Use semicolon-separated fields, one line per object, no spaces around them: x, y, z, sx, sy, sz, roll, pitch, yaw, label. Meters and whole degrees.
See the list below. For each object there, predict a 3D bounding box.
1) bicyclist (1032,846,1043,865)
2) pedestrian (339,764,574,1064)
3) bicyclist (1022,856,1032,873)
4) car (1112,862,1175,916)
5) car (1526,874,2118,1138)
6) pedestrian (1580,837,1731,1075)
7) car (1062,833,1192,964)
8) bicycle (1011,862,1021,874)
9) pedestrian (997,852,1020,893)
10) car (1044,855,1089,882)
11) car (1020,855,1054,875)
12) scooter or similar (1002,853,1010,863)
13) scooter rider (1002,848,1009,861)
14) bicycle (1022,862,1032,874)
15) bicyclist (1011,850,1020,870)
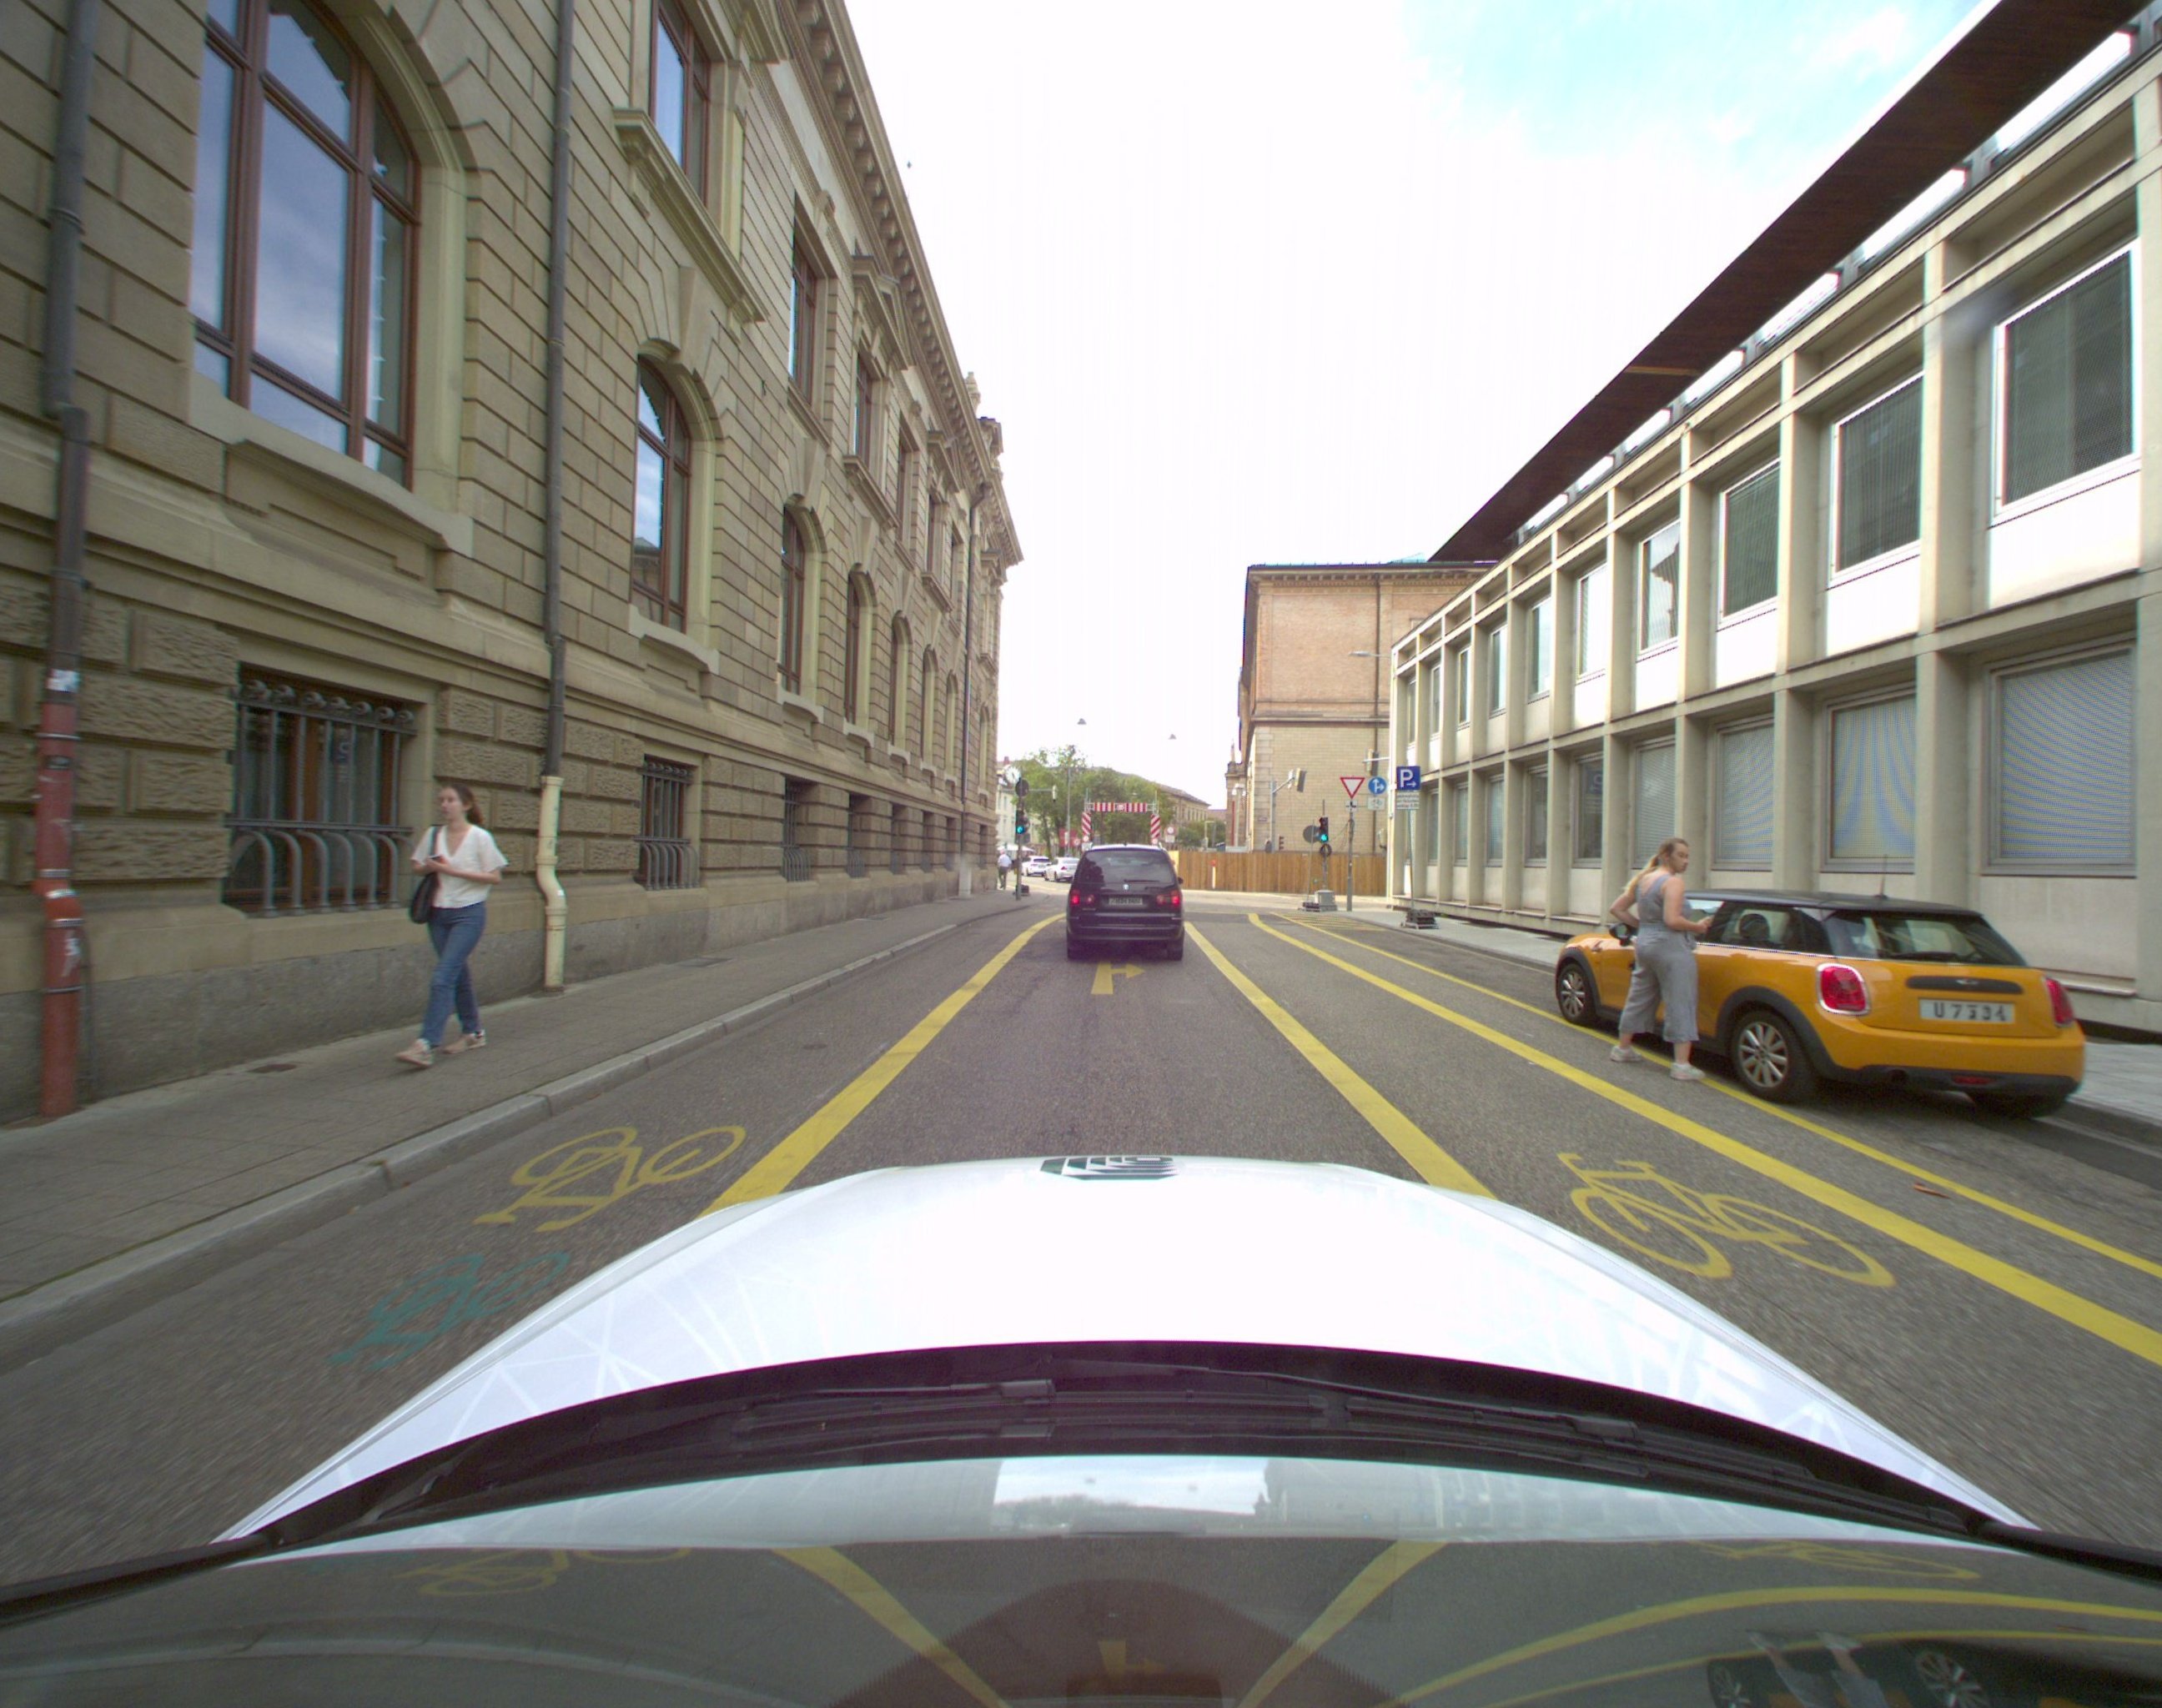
-4.248;0.150;80.116;0.962;1.782;0.986;1;-1;1;bicyclist
-4.179;0.375;5.548;0.661;1.819;1.048;3;-1;2;pedestrian
-4.559;0.876;68.551;0.734;1.375;0.829;1;-1;-8;bicyclist
1.839;1.000;24.965;1.672;1.469;4.103;1;-1;1;car
5.585;0.970;6.931;1.672;1.435;3.891;4;0;5;car
4.494;0.761;6.415;0.696;1.764;0.705;1;-1;-1;pedestrian
0.818;0.642;13.485;1.781;1.790;4.108;1;-1;5;car
-5.502;1.165;68.459;0.734;1.009;2.063;1;-1;-8;bicycle
-3.320;0.820;37.092;0.793;1.819;1.043;3;-1;-14;pedestrian
-0.877;0.823;47.546;1.706;1.501;3.980;1;-1;-15;car
-3.076;0.775;56.886;1.652;1.321;3.656;1;-1;-15;car
-8.930;0.494;96.612;0.596;1.255;1.555;1;-1;6;scooter or similar
-8.932;0.093;96.582;0.596;1.490;0.680;1;-1;7;scooter rider
-4.567;1.170;68.628;0.734;1.009;2.063;1;-1;-8;bicycle
-5.492;0.501;68.431;0.735;1.612;0.693;1;-1;-9;bicyclist
